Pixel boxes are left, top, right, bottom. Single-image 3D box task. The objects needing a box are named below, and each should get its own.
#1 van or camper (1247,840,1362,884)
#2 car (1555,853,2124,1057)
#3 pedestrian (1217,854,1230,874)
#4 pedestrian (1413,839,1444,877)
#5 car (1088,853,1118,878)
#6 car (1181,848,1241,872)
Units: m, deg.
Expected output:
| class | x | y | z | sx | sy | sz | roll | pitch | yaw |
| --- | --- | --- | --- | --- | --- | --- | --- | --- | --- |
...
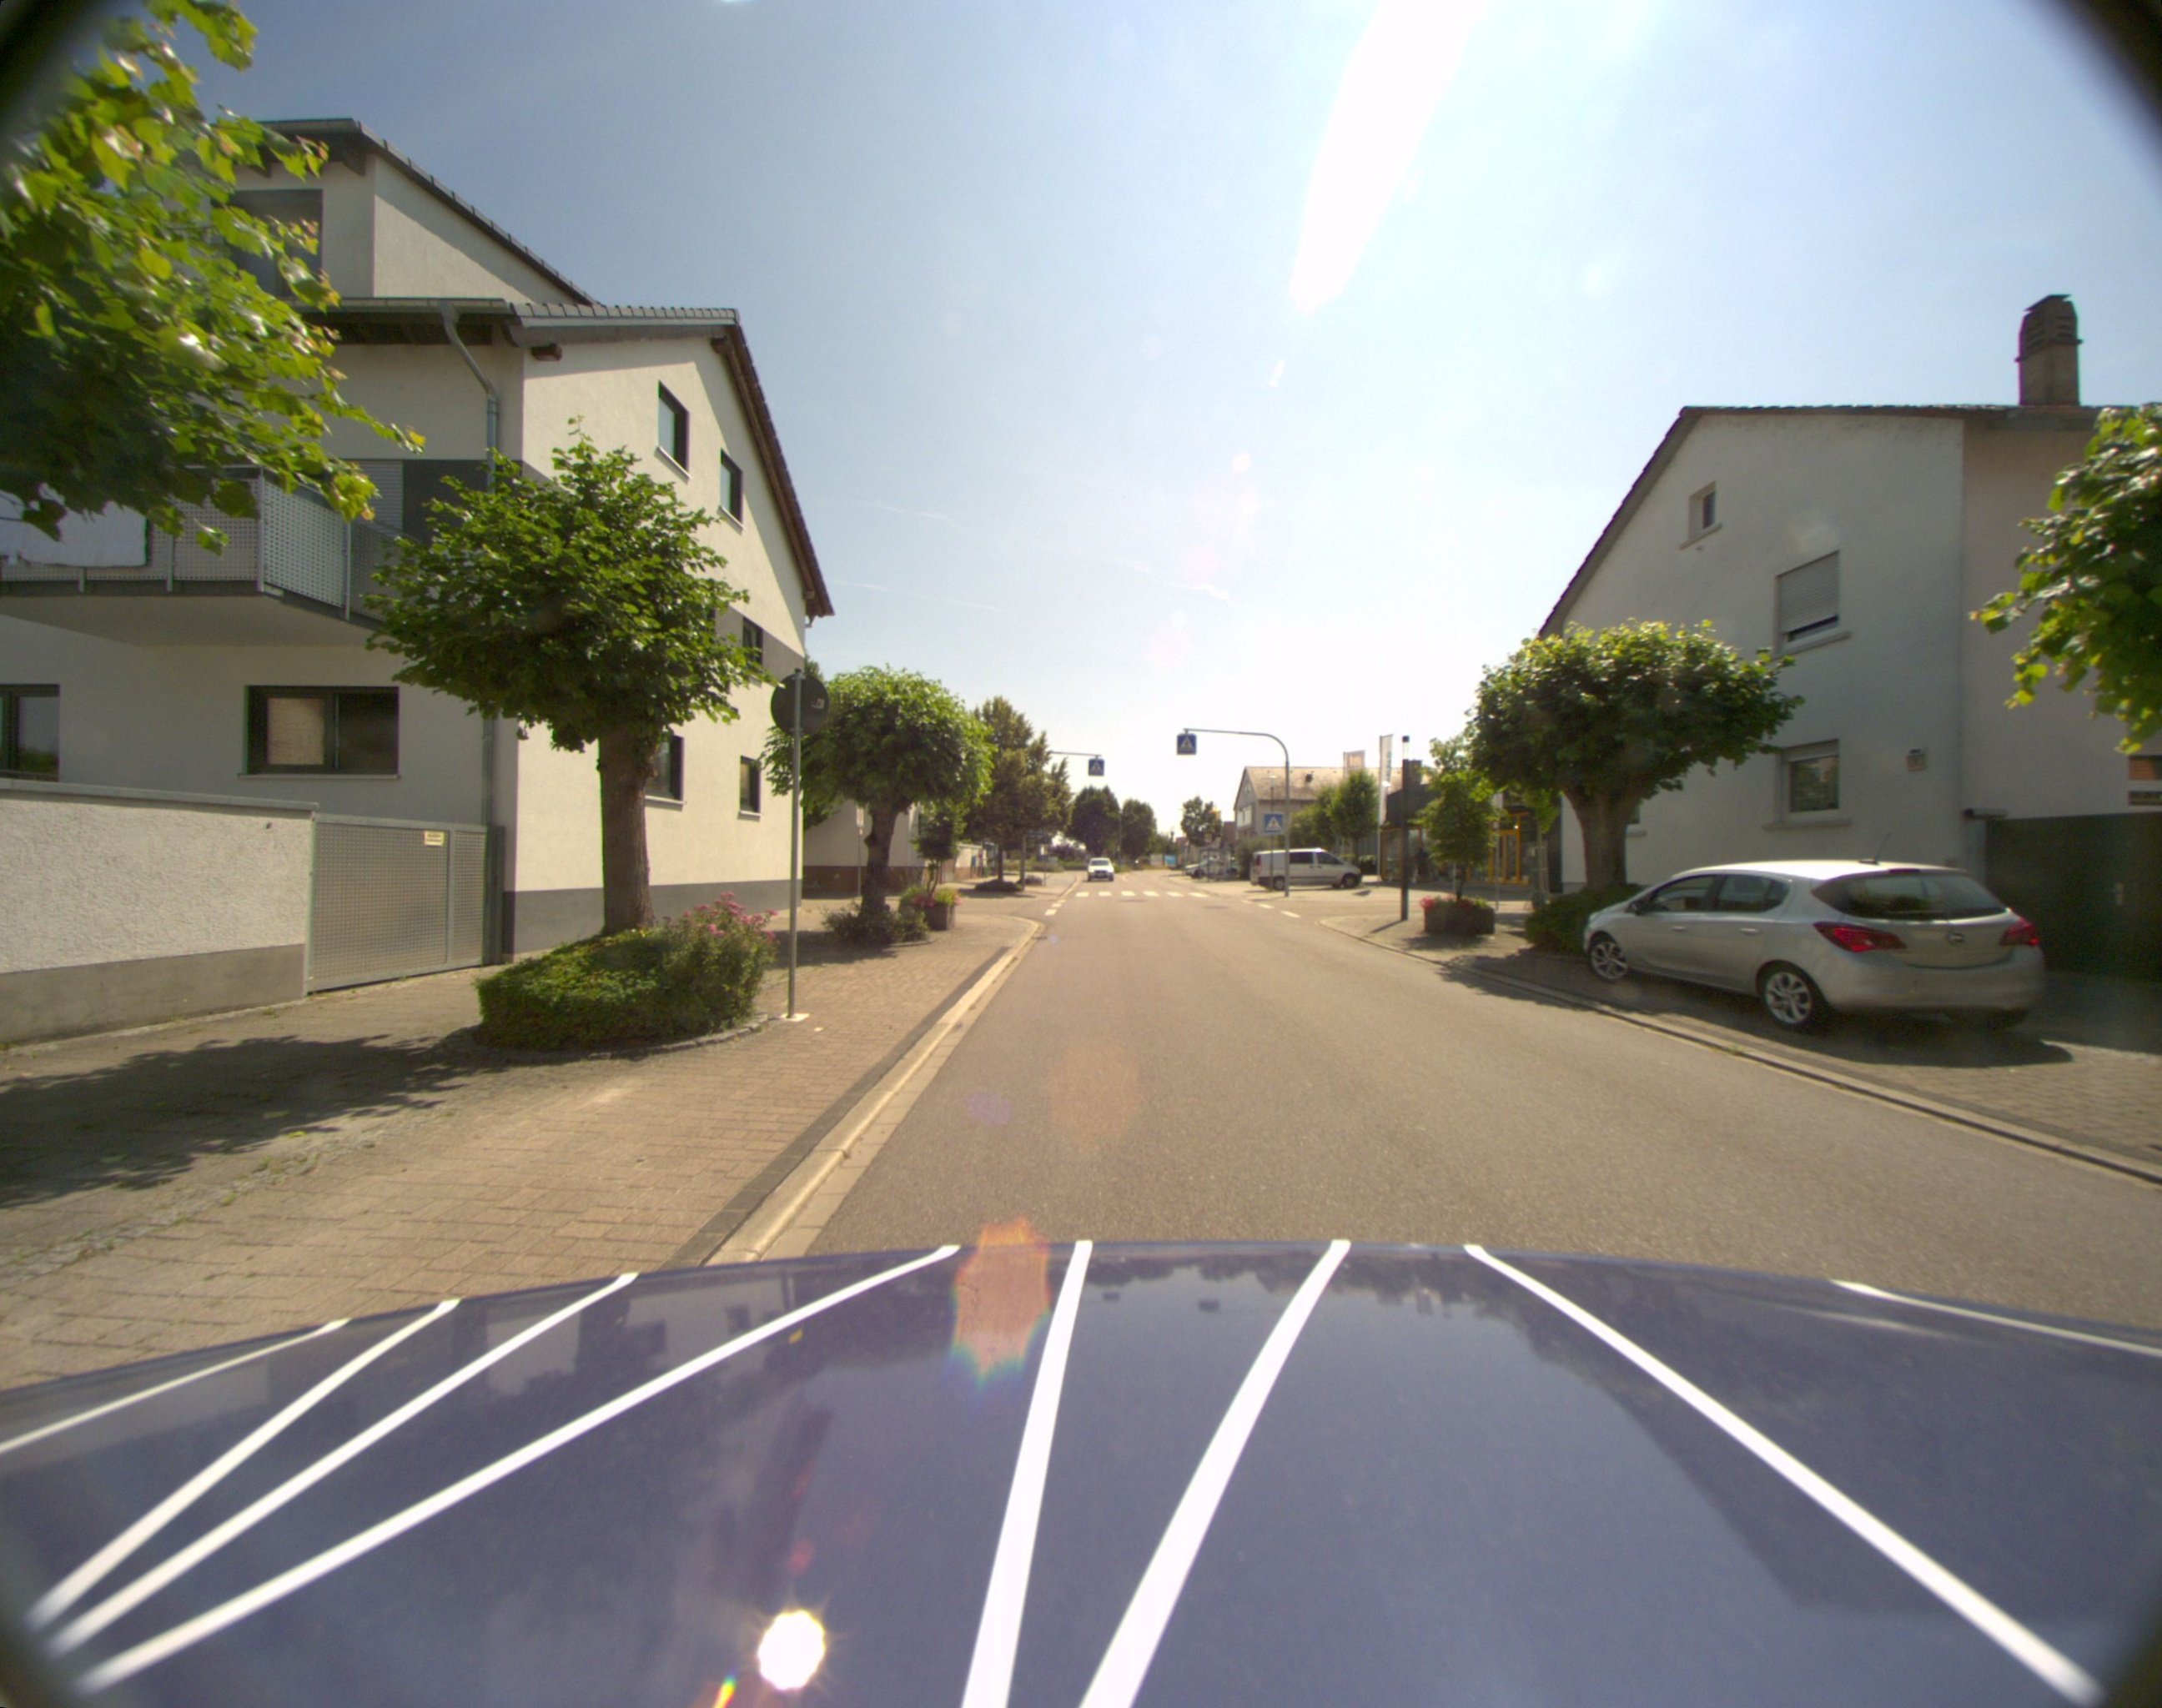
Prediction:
| class | x | y | z | sx | sy | sz | roll | pitch | yaw |
| --- | --- | --- | --- | --- | --- | --- | --- | --- | --- |
| van or camper | 10.416 | 0.378 | 35.647 | 4.752 | 1.851 | 2.000 | -2 | 0 | 1 |
| car | 7.095 | 0.771 | 7.884 | 1.829 | 1.474 | 4.132 | -2 | 1 | 2 |
| pedestrian | 9.818 | 0.651 | 52.223 | 0.787 | 1.350 | 0.607 | -1 | 1 | 2 |
| pedestrian | 16.473 | 0.173 | 36.042 | 1.072 | 1.765 | 0.932 | -1 | 1 | -35 |
| car | 1.572 | 0.785 | 52.825 | 1.857 | 1.603 | 4.135 | -2 | 0 | 3 |
| car | 10.201 | 0.476 | 59.910 | 4.251 | 1.709 | 1.945 | -2 | 1 | -4 |
